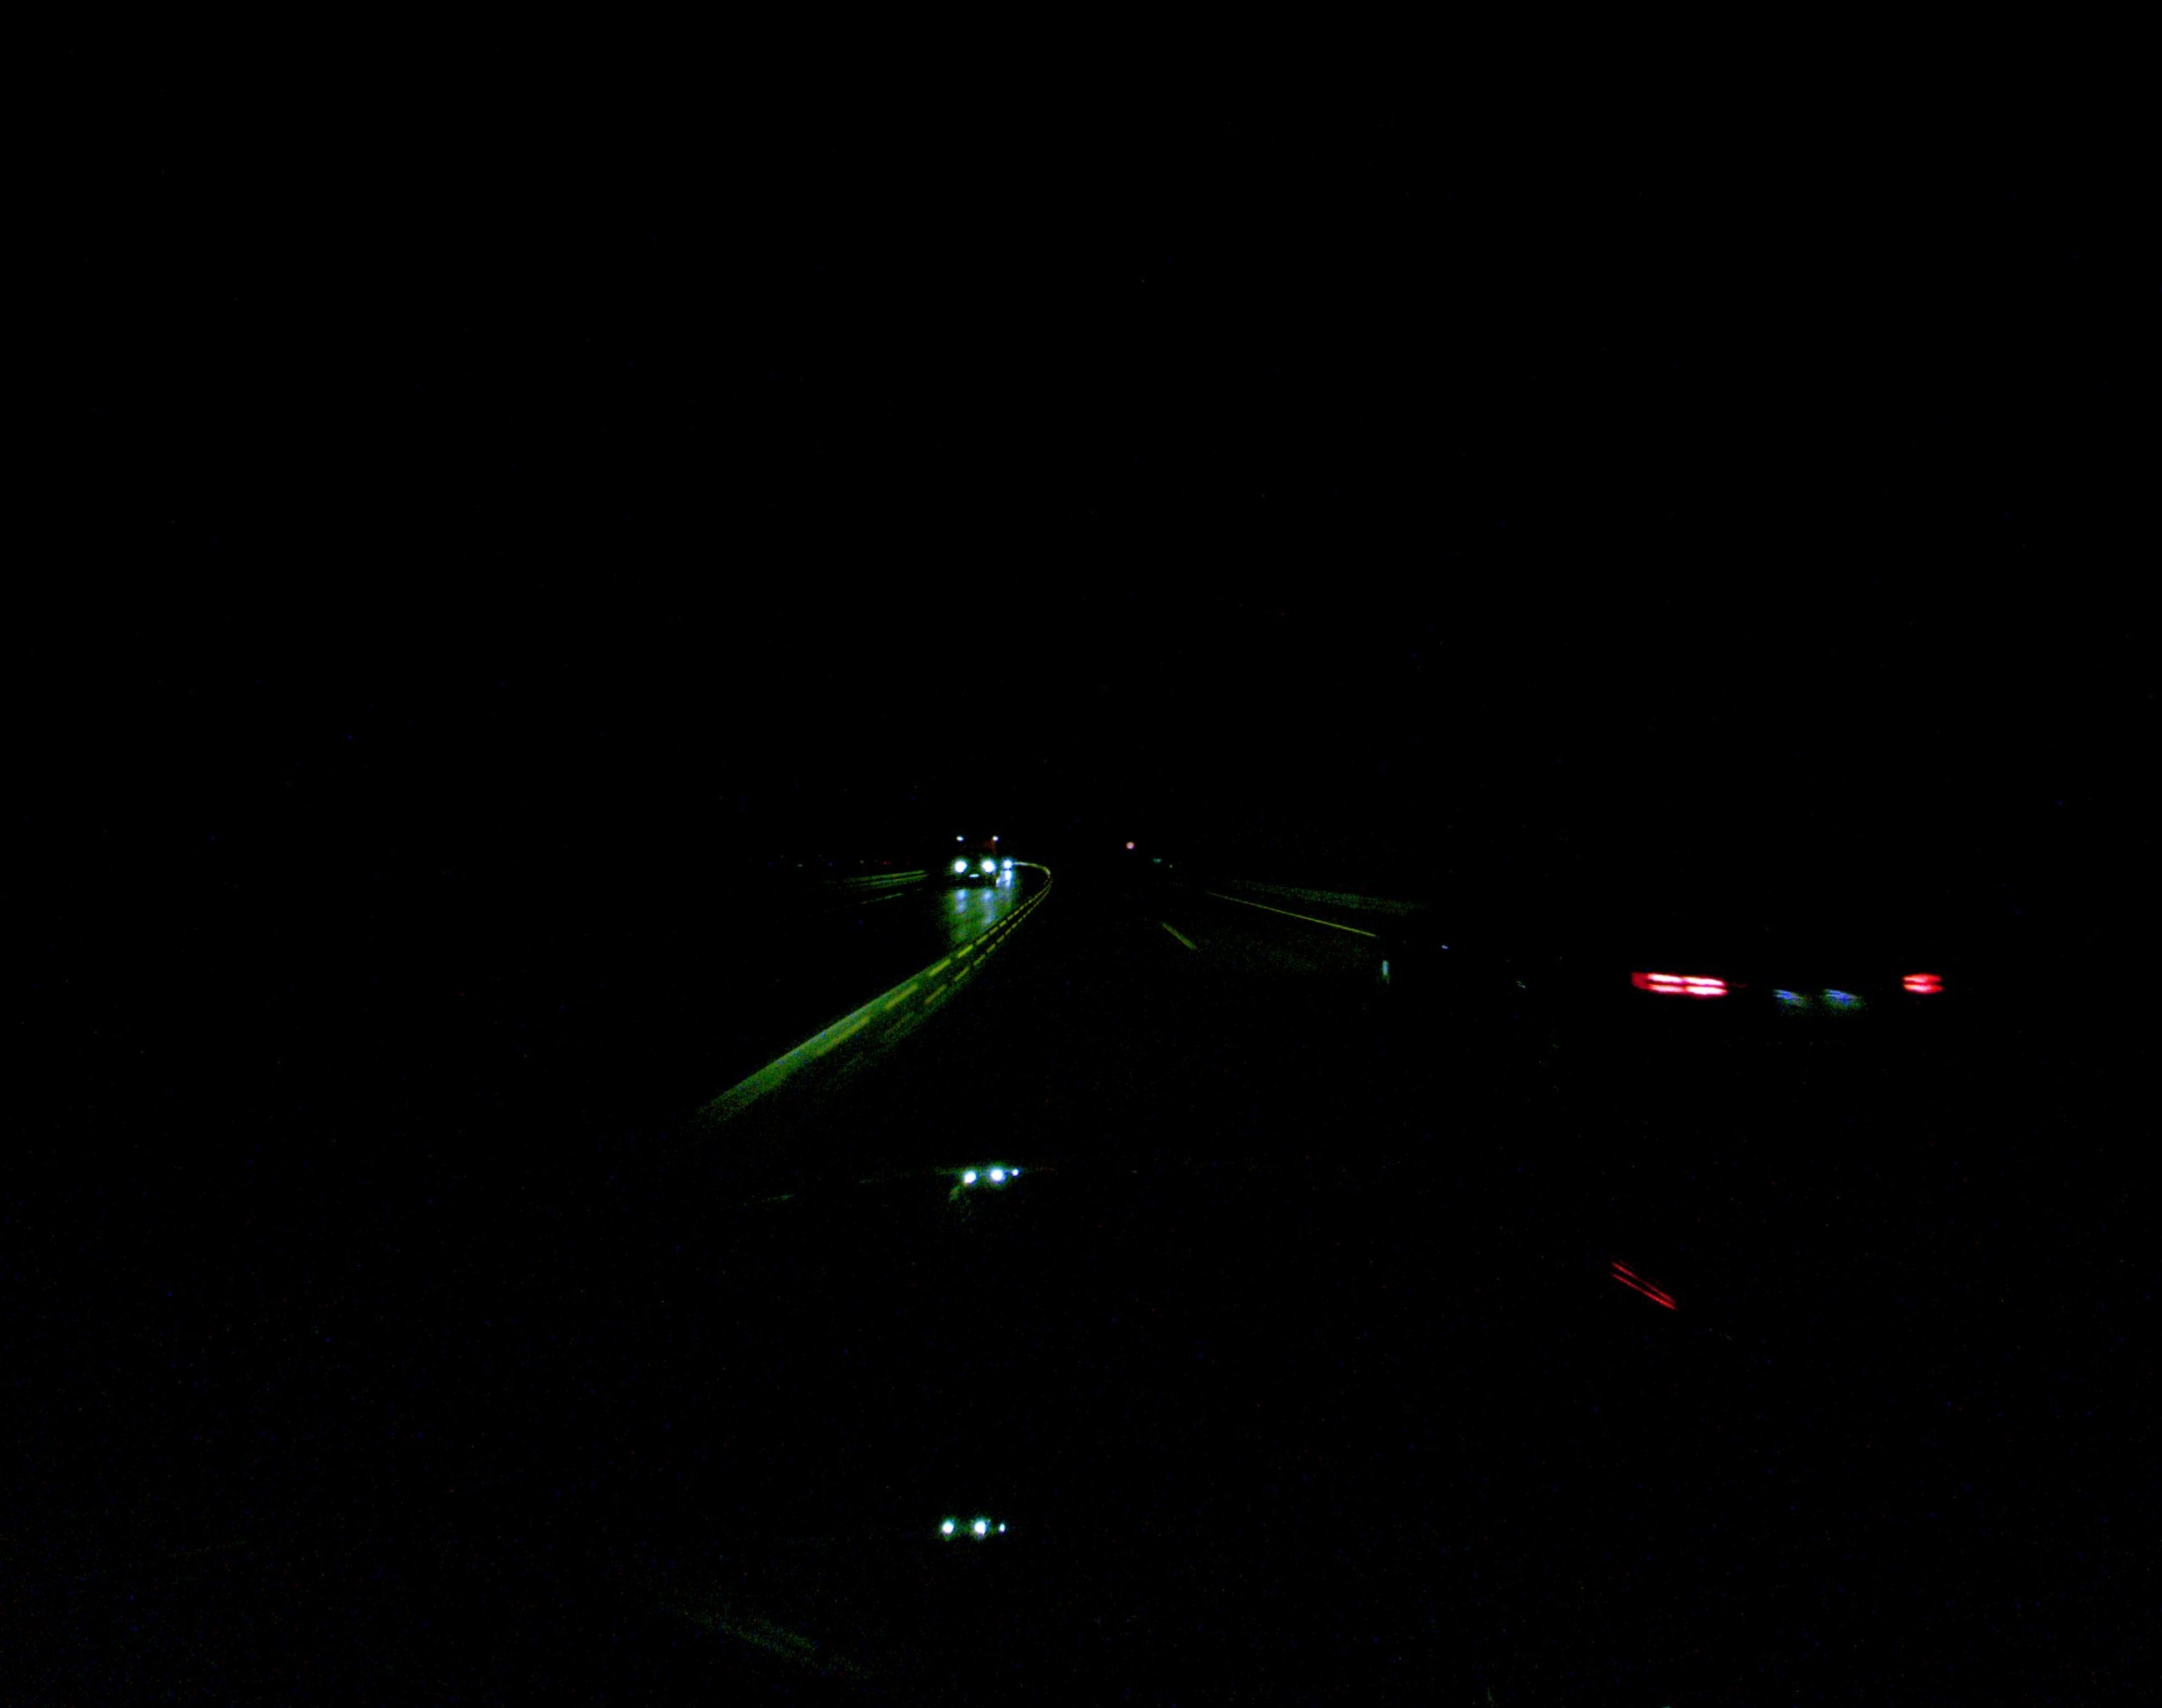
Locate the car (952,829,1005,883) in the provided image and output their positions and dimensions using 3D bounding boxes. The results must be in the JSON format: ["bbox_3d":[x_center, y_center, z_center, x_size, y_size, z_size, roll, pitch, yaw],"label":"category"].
[{"bbox_3d":[-6.355,0.168,51.448,2.479,3.105,7.380,-1,-1,-1],"label":"car"}]

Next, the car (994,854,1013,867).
[{"bbox_3d":[-8.996,0.751,94.681,1.908,1.426,4.947,-2,0,-3],"label":"car"}]

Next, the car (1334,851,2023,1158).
[{"bbox_3d":[3.647,0.745,6.374,1.802,1.426,4.874,-2,-1,0],"label":"car"}]
